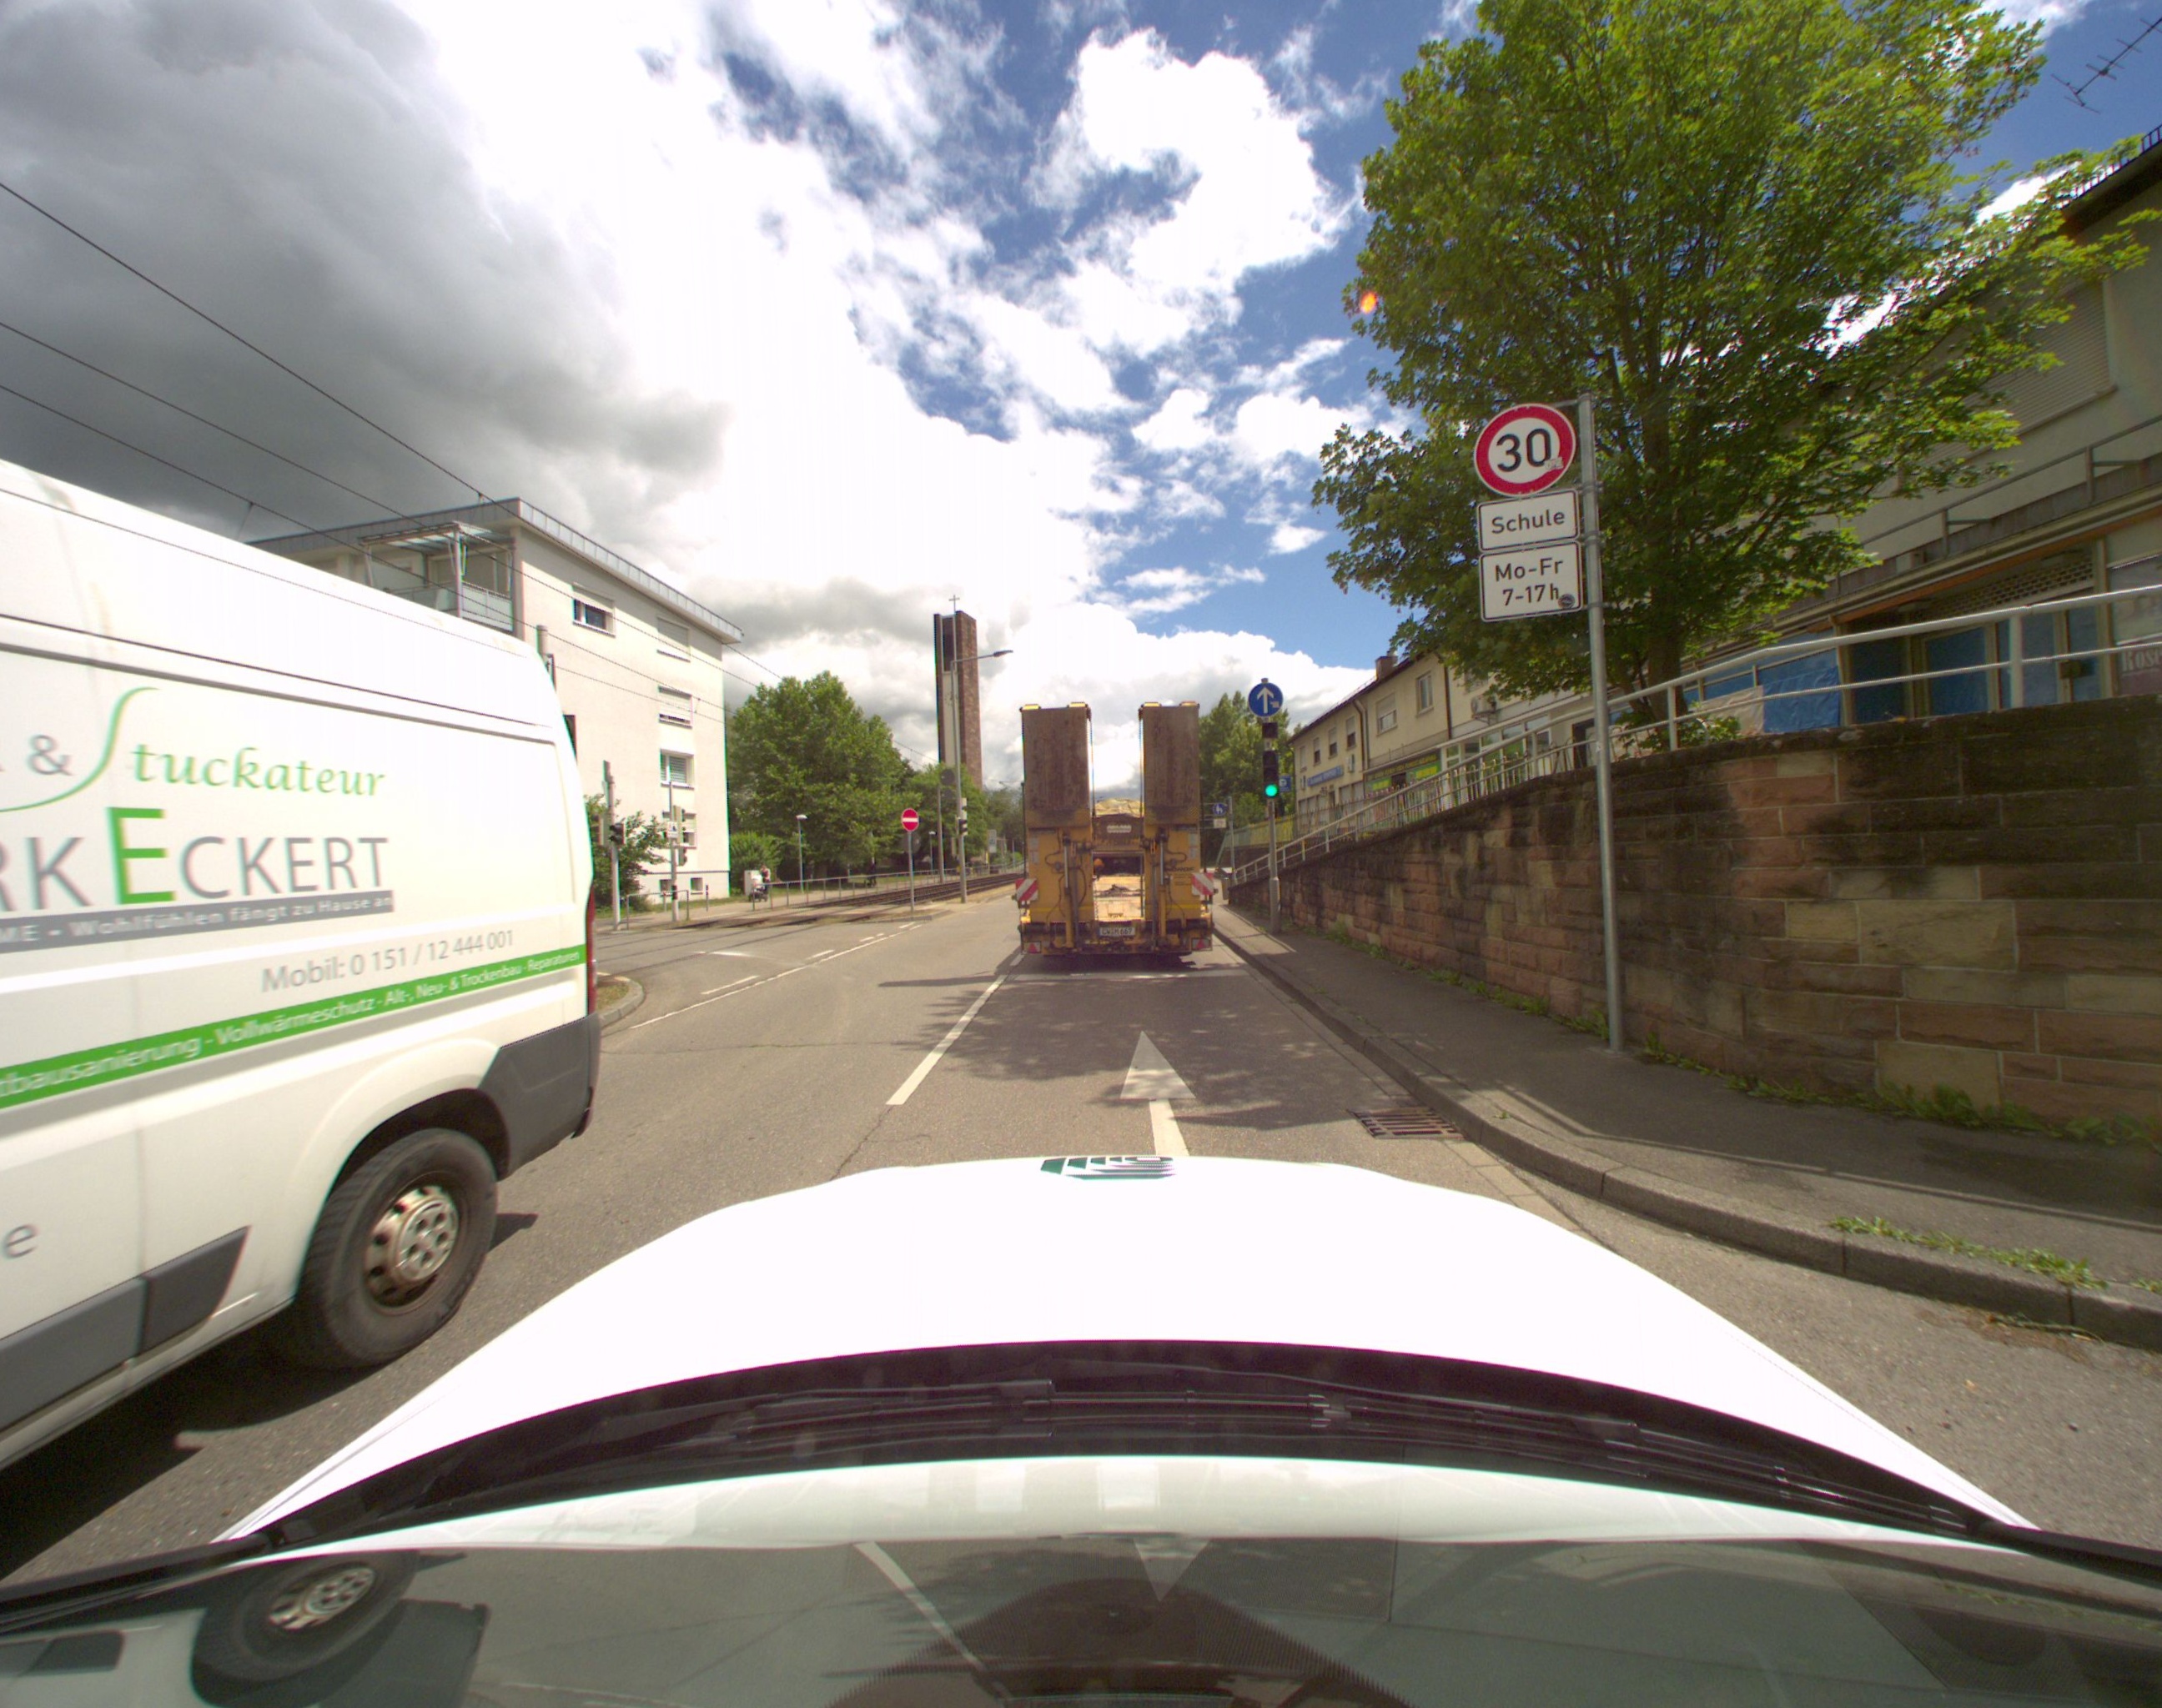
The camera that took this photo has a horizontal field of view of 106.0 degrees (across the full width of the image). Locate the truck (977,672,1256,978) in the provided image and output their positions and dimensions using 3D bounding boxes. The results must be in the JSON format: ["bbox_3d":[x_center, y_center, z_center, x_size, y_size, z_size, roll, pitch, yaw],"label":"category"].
[{"bbox_3d":[0.661,-0.312,17.130,3.389,3.732,13.743,-2,-1,2],"label":"truck"}]

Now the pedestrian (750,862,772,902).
[{"bbox_3d":[-13.858,1.187,35.266,0.642,1.692,0.680,-2,-1,4],"label":"pedestrian"}]

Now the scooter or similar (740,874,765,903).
[{"bbox_3d":[-13.899,1.448,34.466,0.605,1.163,0.893,-2,-1,4],"label":"scooter or similar"}]

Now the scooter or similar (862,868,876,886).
[{"bbox_3d":[-13.529,1.476,51.911,0.602,1.115,0.821,-2,-1,2],"label":"scooter or similar"}]

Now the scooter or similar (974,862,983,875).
[{"bbox_3d":[-9.993,1.395,79.328,0.646,1.237,1.403,-1,0,5],"label":"scooter or similar"}]

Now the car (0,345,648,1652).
[{"bbox_3d":[-3.168,0.292,1.191,2.224,2.474,5.086,-3,-1,0],"label":"car"}]

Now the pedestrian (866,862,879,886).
[{"bbox_3d":[-13.502,1.299,52.767,0.610,1.540,0.874,-1,-1,2],"label":"pedestrian"}]

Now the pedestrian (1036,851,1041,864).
[{"bbox_3d":[-6.608,0.576,126.330,0.709,2.014,0.732,0,-1,2],"label":"pedestrian"}]

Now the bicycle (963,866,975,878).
[{"bbox_3d":[-10.037,1.625,73.135,0.634,0.994,1.930,0,-1,4],"label":"bicycle"}]

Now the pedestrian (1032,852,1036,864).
[{"bbox_3d":[-7.045,0.545,121.722,0.581,1.778,0.577,0,-1,4],"label":"pedestrian"}]

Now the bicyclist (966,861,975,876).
[{"bbox_3d":[-9.982,1.304,73.491,0.630,1.429,0.791,0,-1,4],"label":"bicyclist"}]
